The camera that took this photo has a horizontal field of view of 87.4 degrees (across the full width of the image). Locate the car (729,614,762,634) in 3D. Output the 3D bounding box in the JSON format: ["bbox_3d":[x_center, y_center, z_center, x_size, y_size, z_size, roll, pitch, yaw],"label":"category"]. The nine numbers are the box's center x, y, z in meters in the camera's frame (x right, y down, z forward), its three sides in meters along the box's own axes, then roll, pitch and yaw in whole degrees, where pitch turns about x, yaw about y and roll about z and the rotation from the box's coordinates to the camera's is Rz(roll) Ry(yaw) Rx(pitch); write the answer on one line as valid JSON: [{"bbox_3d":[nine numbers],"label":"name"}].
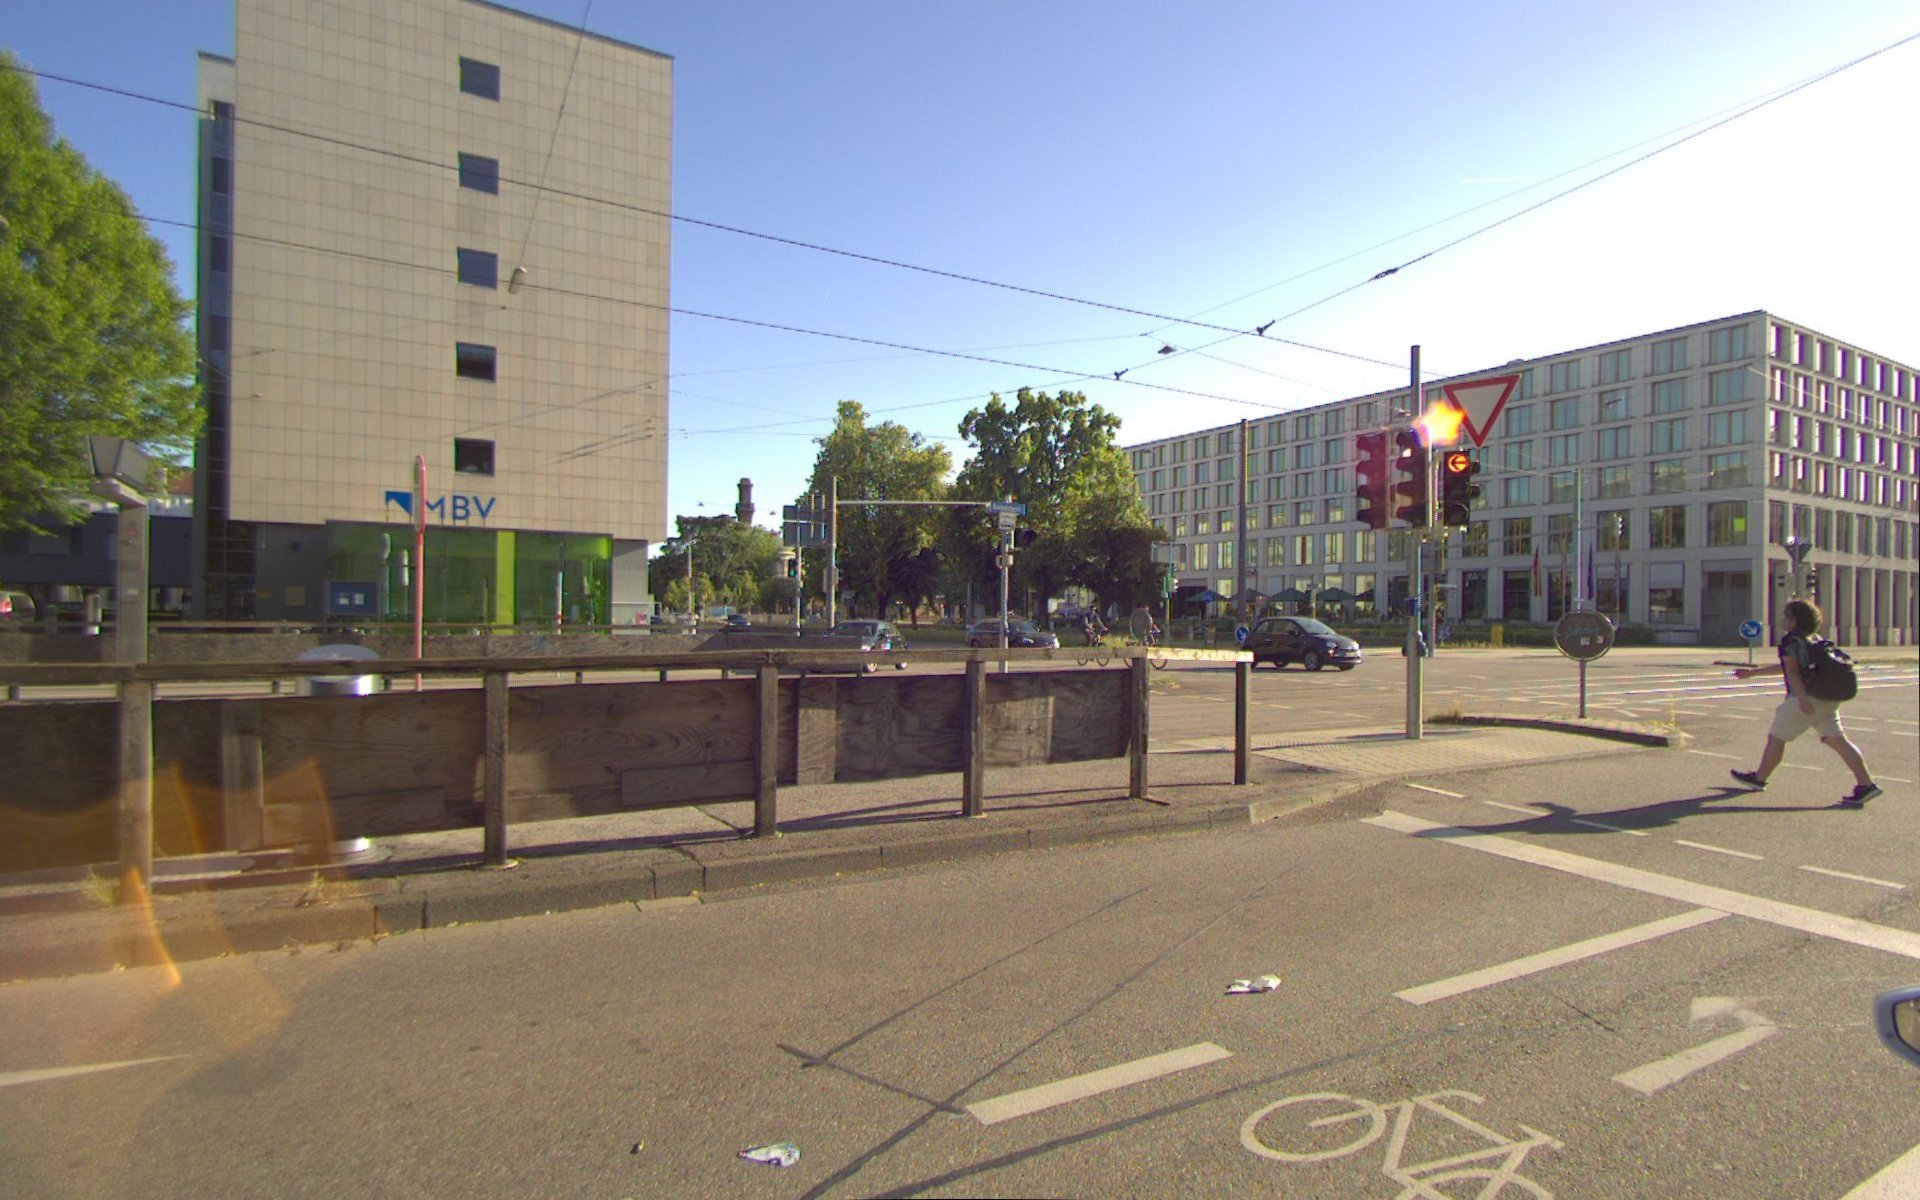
[{"bbox_3d":[-17.469,1.931,81.591,1.505,1.526,3.511,1,0,-32],"label":"car"}]

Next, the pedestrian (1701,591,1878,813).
[{"bbox_3d":[7.121,0.817,8.626,1.027,1.743,1.030,1,-1,-41],"label":"pedestrian"}]

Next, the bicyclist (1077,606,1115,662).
[{"bbox_3d":[4.262,1.066,31.523,0.833,1.717,0.887,1,-1,-24],"label":"bicyclist"}]

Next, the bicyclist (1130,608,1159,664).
[{"bbox_3d":[5.347,1.036,29.110,0.586,1.603,0.617,1,-1,-24],"label":"bicyclist"}]

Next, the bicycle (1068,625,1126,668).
[{"bbox_3d":[4.274,1.438,31.496,0.874,1.305,2.042,1,-1,-24],"label":"bicycle"}]

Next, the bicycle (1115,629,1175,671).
[{"bbox_3d":[5.336,1.422,29.092,0.779,1.137,1.918,1,-1,-24],"label":"bicycle"}]

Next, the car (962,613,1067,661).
[{"bbox_3d":[2.100,1.413,40.206,1.910,1.679,4.878,0,1,-29],"label":"car"}]

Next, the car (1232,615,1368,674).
[{"bbox_3d":[9.628,1.219,28.673,1.505,1.526,3.511,1,0,-32],"label":"car"}]

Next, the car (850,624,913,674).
[{"bbox_3d":[-2.155,1.357,28.306,1.441,1.311,3.230,-1,-2,1],"label":"car"}]

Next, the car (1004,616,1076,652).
[{"bbox_3d":[3.629,1.540,46.030,1.505,1.526,3.511,1,0,-32],"label":"car"}]
